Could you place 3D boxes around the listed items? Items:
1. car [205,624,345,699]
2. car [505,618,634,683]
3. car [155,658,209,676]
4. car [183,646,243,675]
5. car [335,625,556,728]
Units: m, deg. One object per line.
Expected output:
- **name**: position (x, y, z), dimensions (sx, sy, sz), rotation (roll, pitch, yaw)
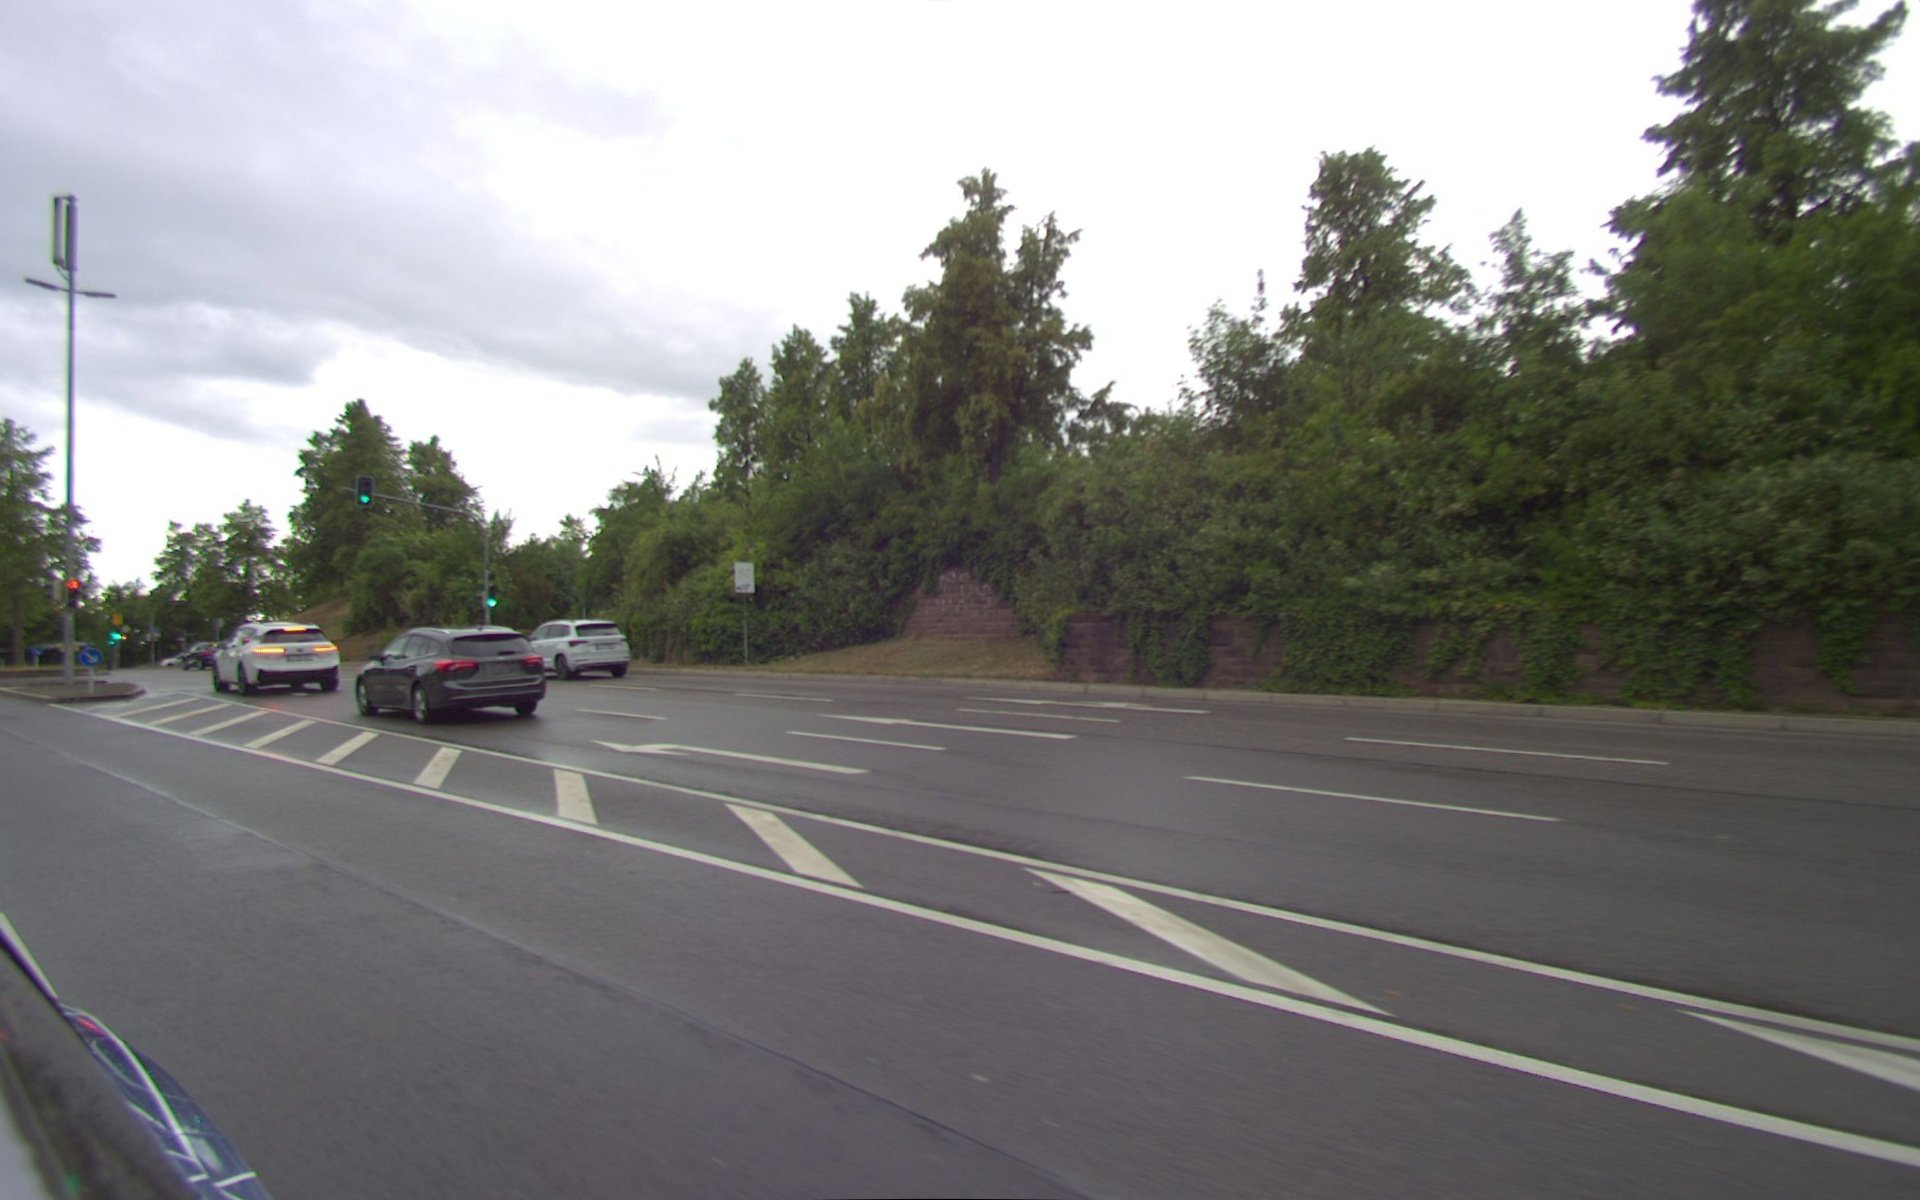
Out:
- **car**: position (-17.185, 1.477, 25.287), dimensions (5.006, 1.648, 1.923), rotation (-2, -2, 44)
- **car**: position (-10.755, 1.355, 27.732), dimensions (4.000, 1.603, 1.705), rotation (-2, 0, 43)
- **car**: position (-68.101, 5.874, 88.618), dimensions (3.640, 1.490, 1.764), rotation (1, -4, -41)
- **car**: position (-40.062, 3.221, 54.247), dimensions (4.454, 1.448, 1.799), rotation (-3, -3, 43)
- **car**: position (-8.699, 1.208, 16.921), dimensions (4.643, 1.483, 1.759), rotation (-3, -2, 42)
